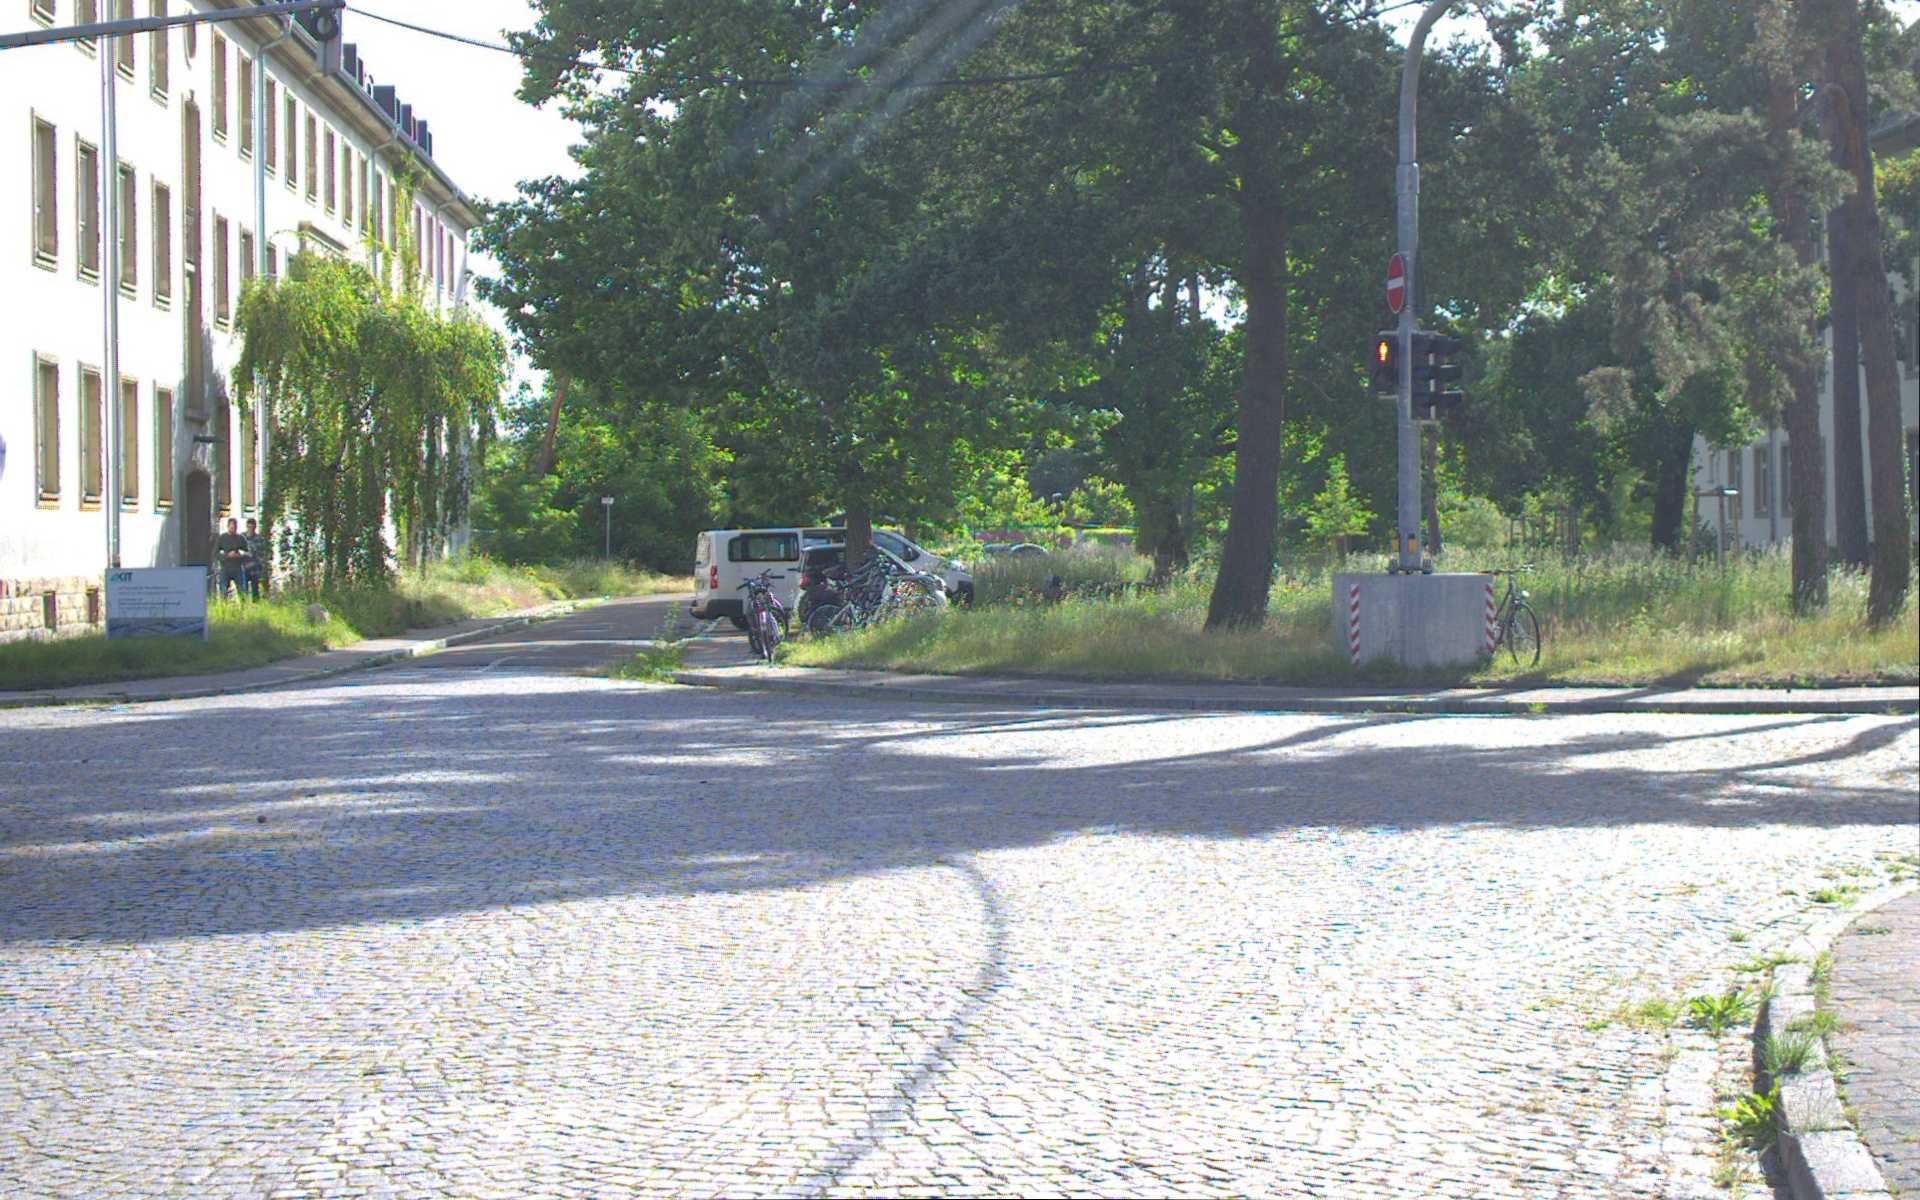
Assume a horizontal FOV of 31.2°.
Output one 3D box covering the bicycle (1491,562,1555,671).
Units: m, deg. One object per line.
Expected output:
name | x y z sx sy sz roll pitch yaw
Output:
bicycle | 5.659 0.161 34.564 0.466 1.076 1.174 0 0 1

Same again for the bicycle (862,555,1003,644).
bicycle | -0.389 -0.012 48.006 1.940 1.231 0.485 0 1 -5

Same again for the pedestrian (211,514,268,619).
pedestrian | -12.435 -0.578 59.357 0.767 1.811 0.682 0 1 9

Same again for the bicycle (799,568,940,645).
bicycle | -1.229 0.084 46.479 1.854 1.027 0.750 0 1 -5

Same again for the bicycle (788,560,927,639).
bicycle | -1.482 -0.011 49.575 1.940 1.125 0.648 0 1 -7

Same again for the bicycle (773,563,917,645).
bicycle | -1.618 0.051 48.482 1.940 1.125 0.648 -1 1 -29

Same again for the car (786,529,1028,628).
car | -0.949 -0.393 60.252 3.986 1.678 1.848 0 1 -10

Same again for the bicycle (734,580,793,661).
bicycle | -2.461 0.243 42.958 0.695 0.968 1.861 0 1 -4

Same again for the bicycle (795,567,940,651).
bicycle | -1.282 0.114 47.275 1.940 1.125 0.750 0 1 -5

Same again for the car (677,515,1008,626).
car | -2.242 -0.573 64.470 5.929 2.007 2.476 0 1 -9

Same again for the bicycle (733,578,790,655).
bicycle | -2.601 0.204 44.893 0.695 0.968 1.861 0 1 -4

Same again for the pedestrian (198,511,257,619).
pedestrian | -12.390 -0.597 58.130 0.812 1.811 0.555 0 1 9
